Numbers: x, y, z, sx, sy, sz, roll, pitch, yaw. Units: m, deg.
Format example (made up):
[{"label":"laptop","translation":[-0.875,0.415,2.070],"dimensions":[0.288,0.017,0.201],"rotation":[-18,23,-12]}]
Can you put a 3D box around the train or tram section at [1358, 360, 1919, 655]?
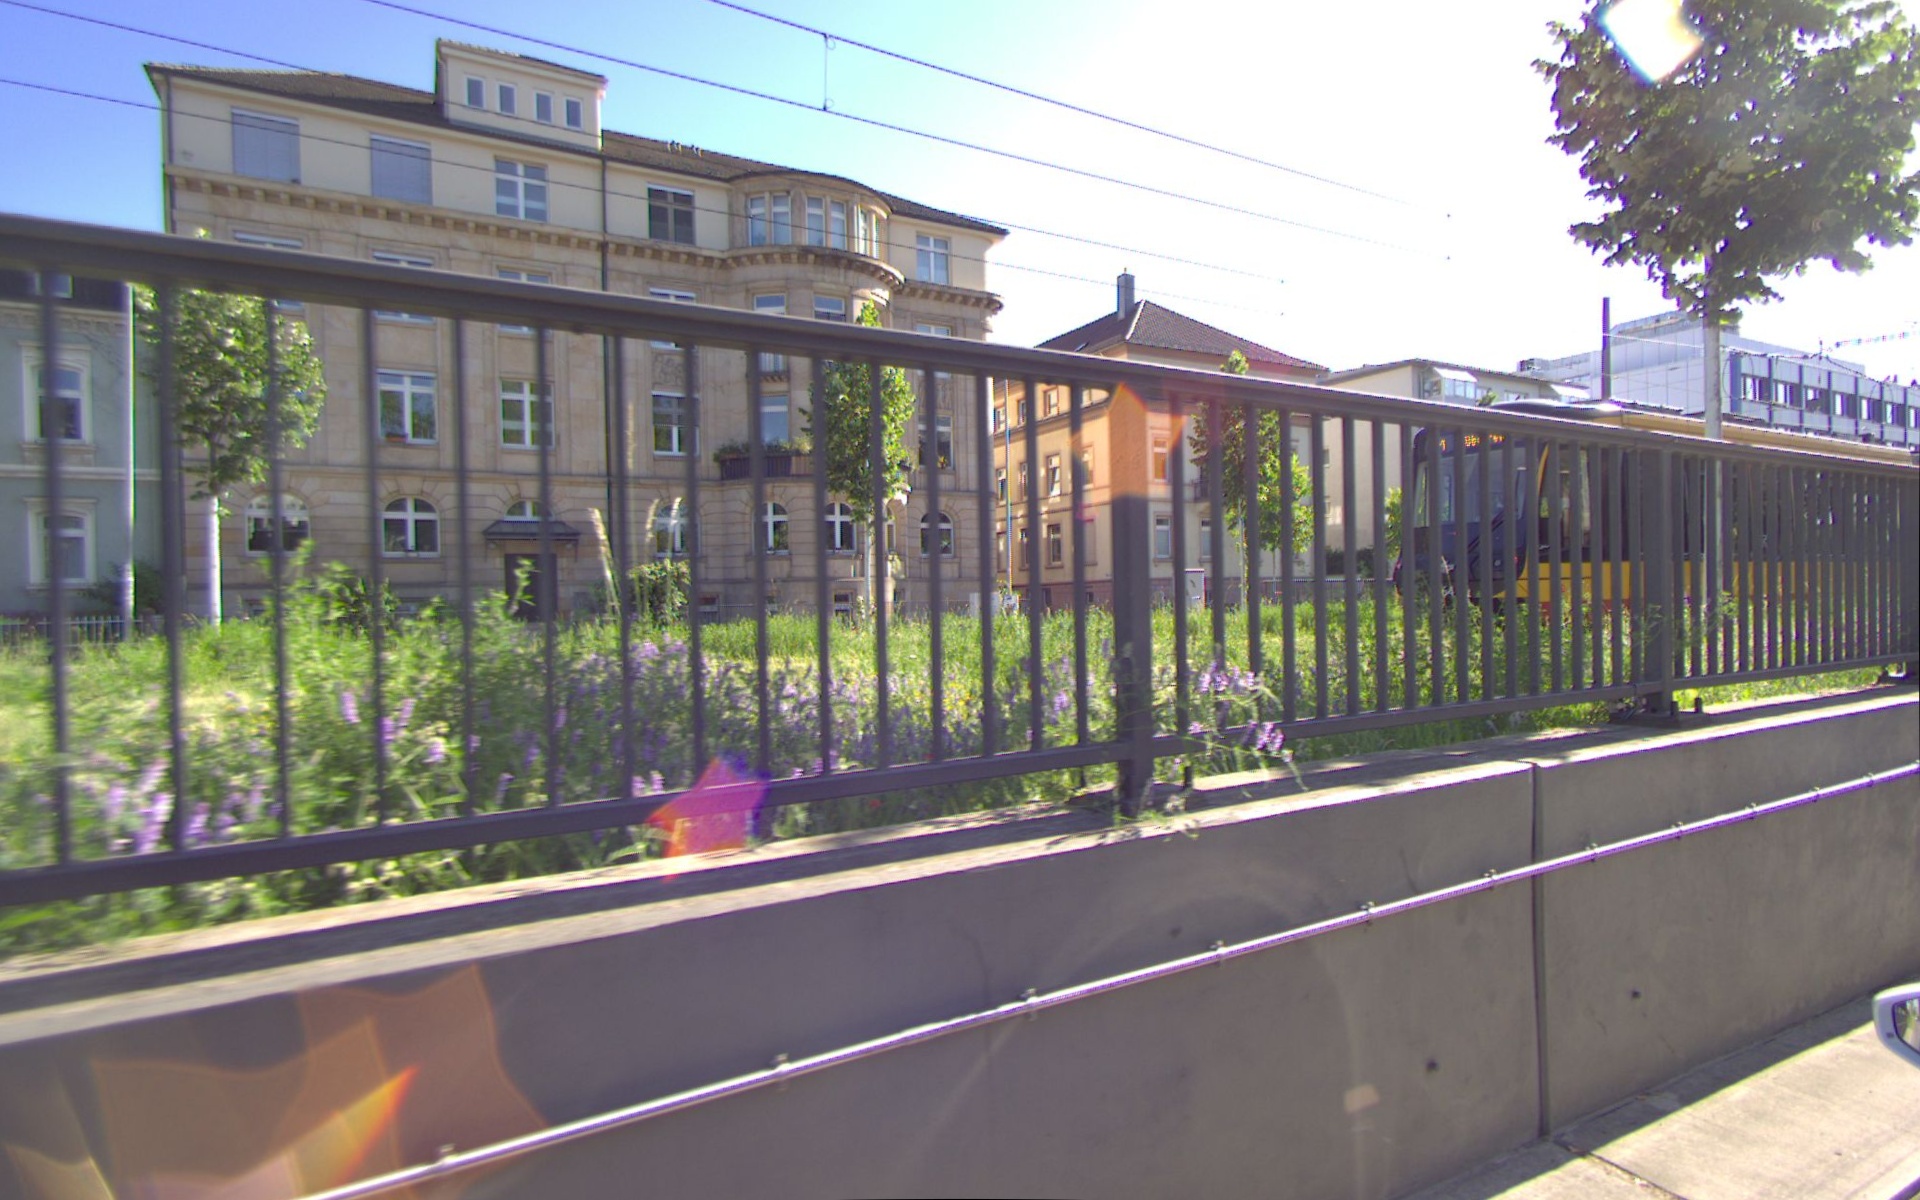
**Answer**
[{"label":"train or tram section","translation":[12.270,-1.239,17.098],"dimensions":[13.181,3.705,2.598],"rotation":[-1,2,-30]}]

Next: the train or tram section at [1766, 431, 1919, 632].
[{"label":"train or tram section","translation":[23.549,-1.402,23.717],"dimensions":[12.936,3.873,2.598],"rotation":[-1,2,-31]}]
